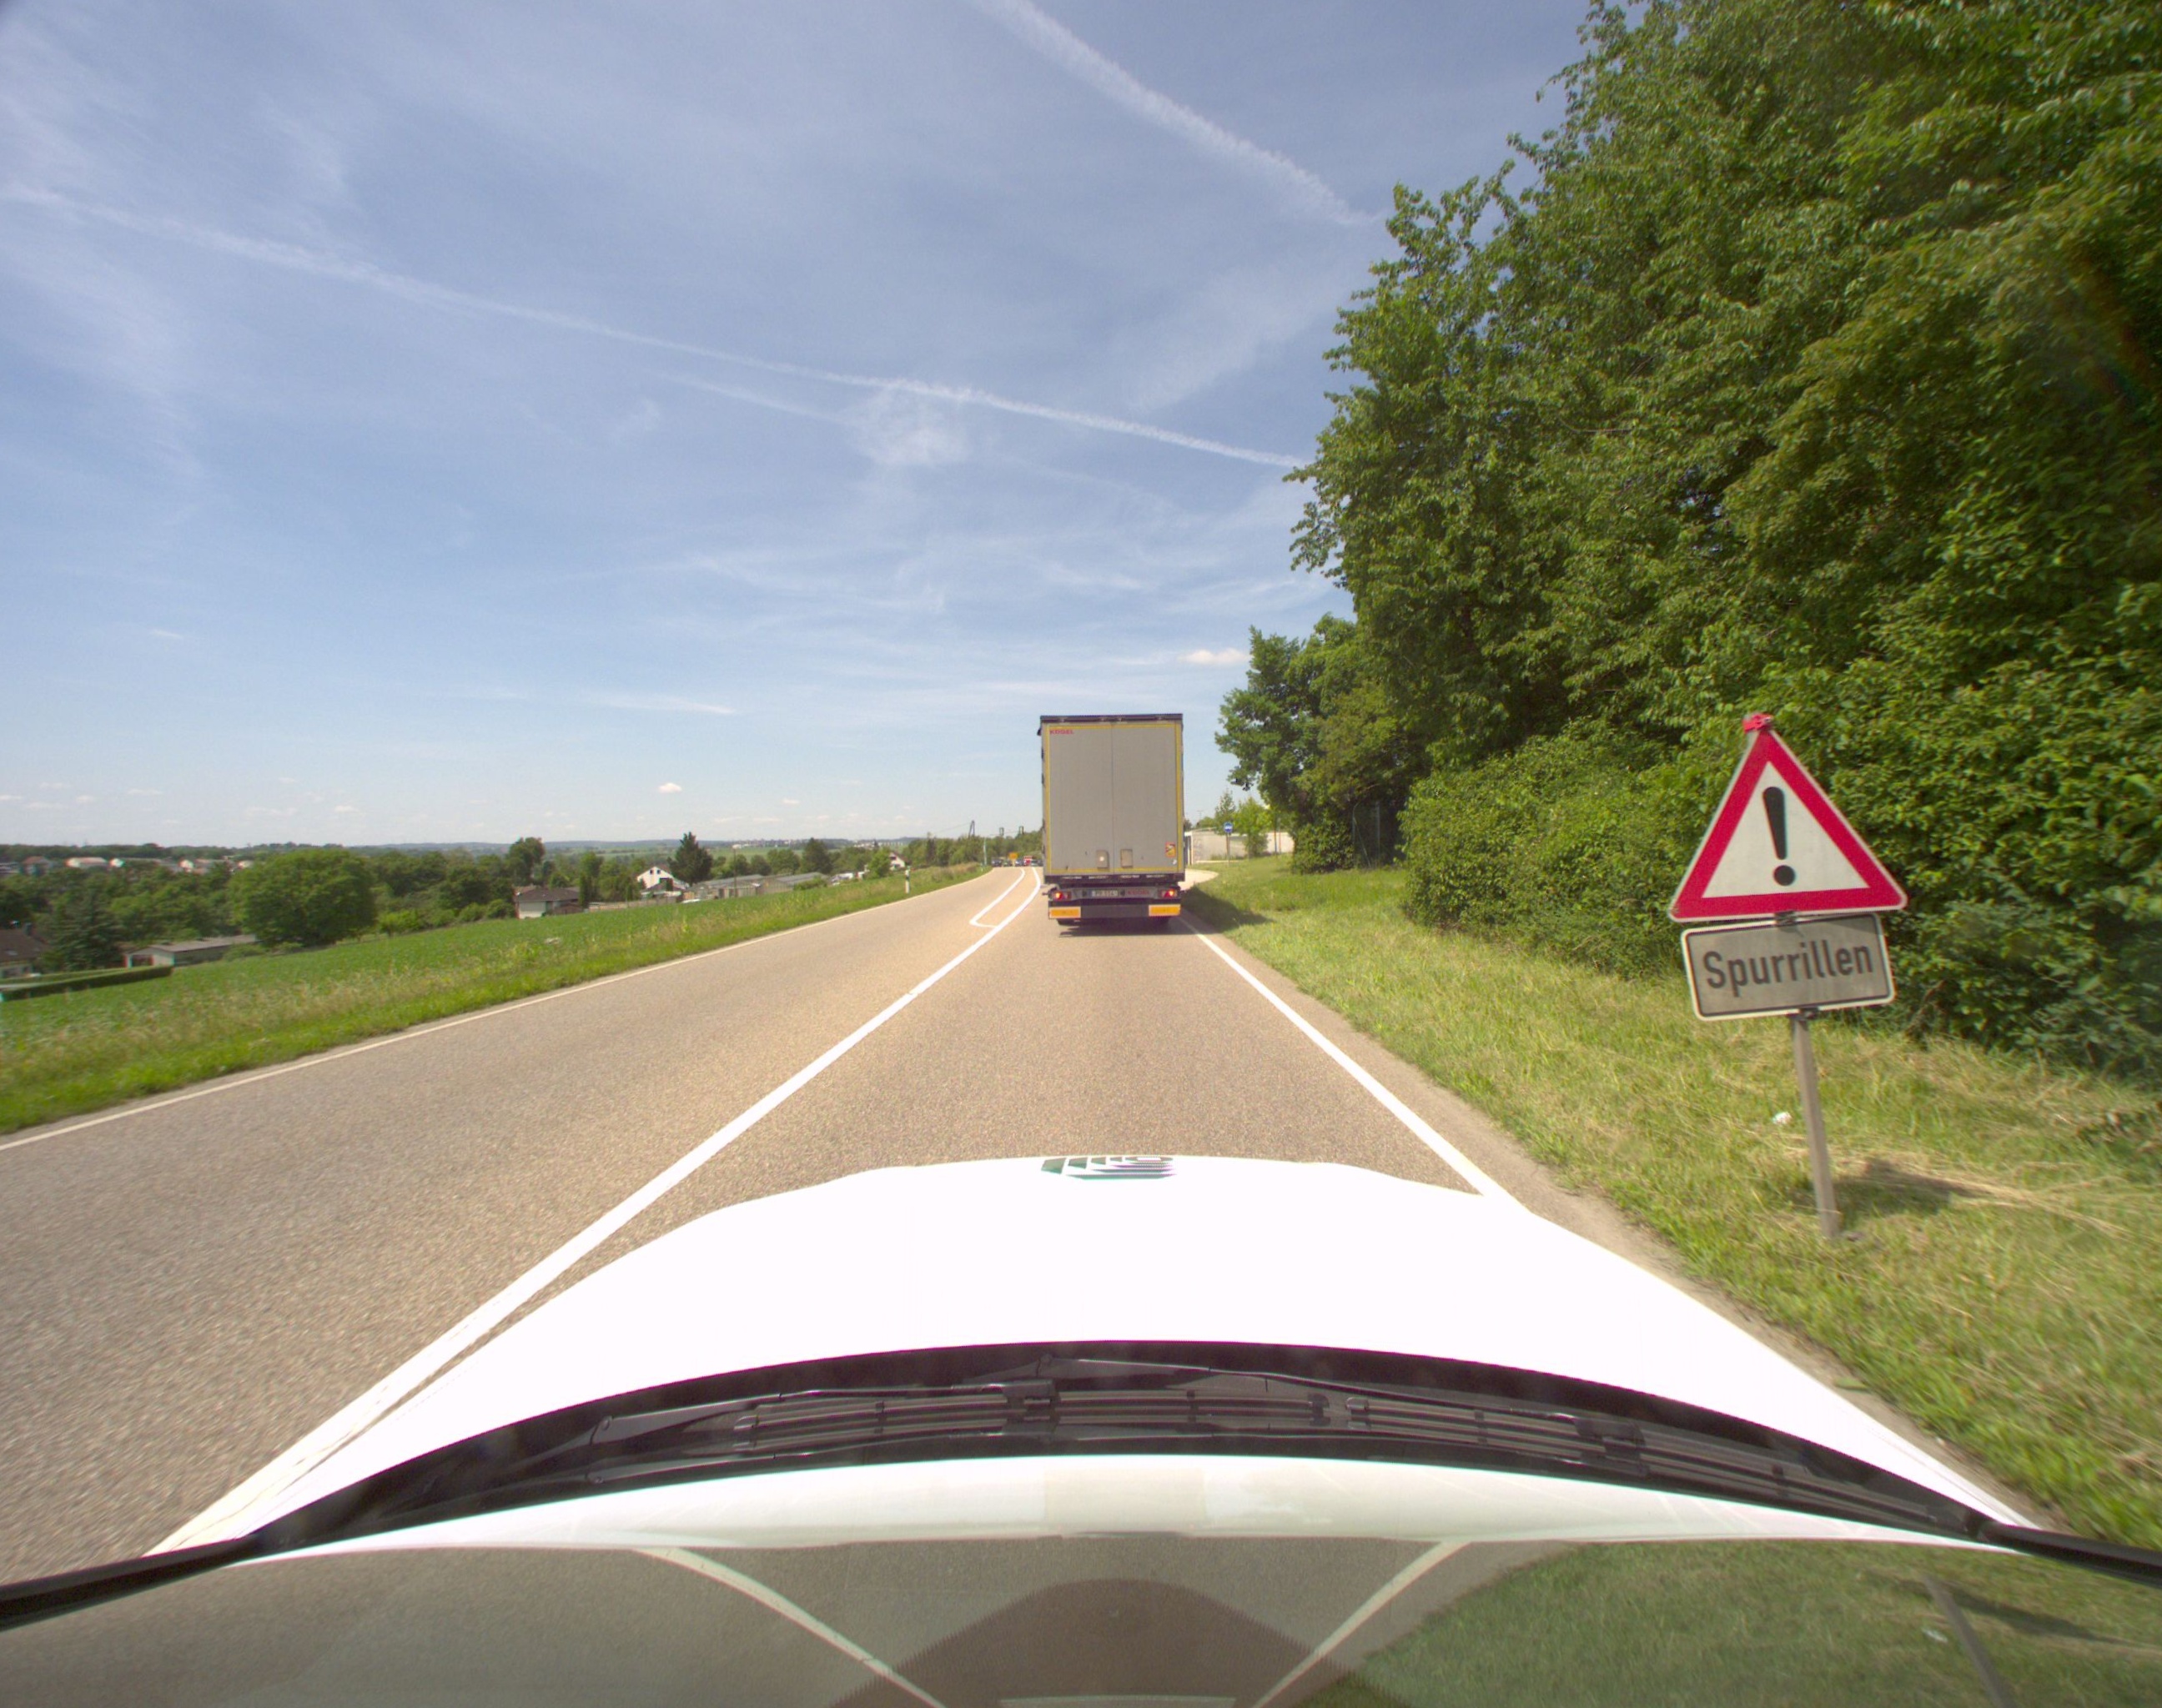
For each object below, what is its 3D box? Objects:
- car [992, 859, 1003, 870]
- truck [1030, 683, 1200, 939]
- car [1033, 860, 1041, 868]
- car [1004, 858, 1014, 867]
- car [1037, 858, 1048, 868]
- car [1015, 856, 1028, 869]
[{"bbox_3d":[-16.866,2.103,164.270,1.991,1.978,5.269,-4,0,-5],"label":"car"},{"bbox_3d":[0.611,-0.761,18.535,2.898,4.410,8.859,-1,0,0],"label":"truck"},{"bbox_3d":[-10.439,2.428,193.550,1.887,1.777,4.383,-4,0,-2],"label":"car"},{"bbox_3d":[-15.937,1.965,180.655,1.990,1.815,4.289,-4,0,-5],"label":"car"},{"bbox_3d":[-8.257,1.964,173.649,2.166,2.013,4.523,-4,0,-2],"label":"car"},{"bbox_3d":[-10.104,1.397,138.207,1.989,1.950,4.498,-4,0,-2],"label":"car"}]
